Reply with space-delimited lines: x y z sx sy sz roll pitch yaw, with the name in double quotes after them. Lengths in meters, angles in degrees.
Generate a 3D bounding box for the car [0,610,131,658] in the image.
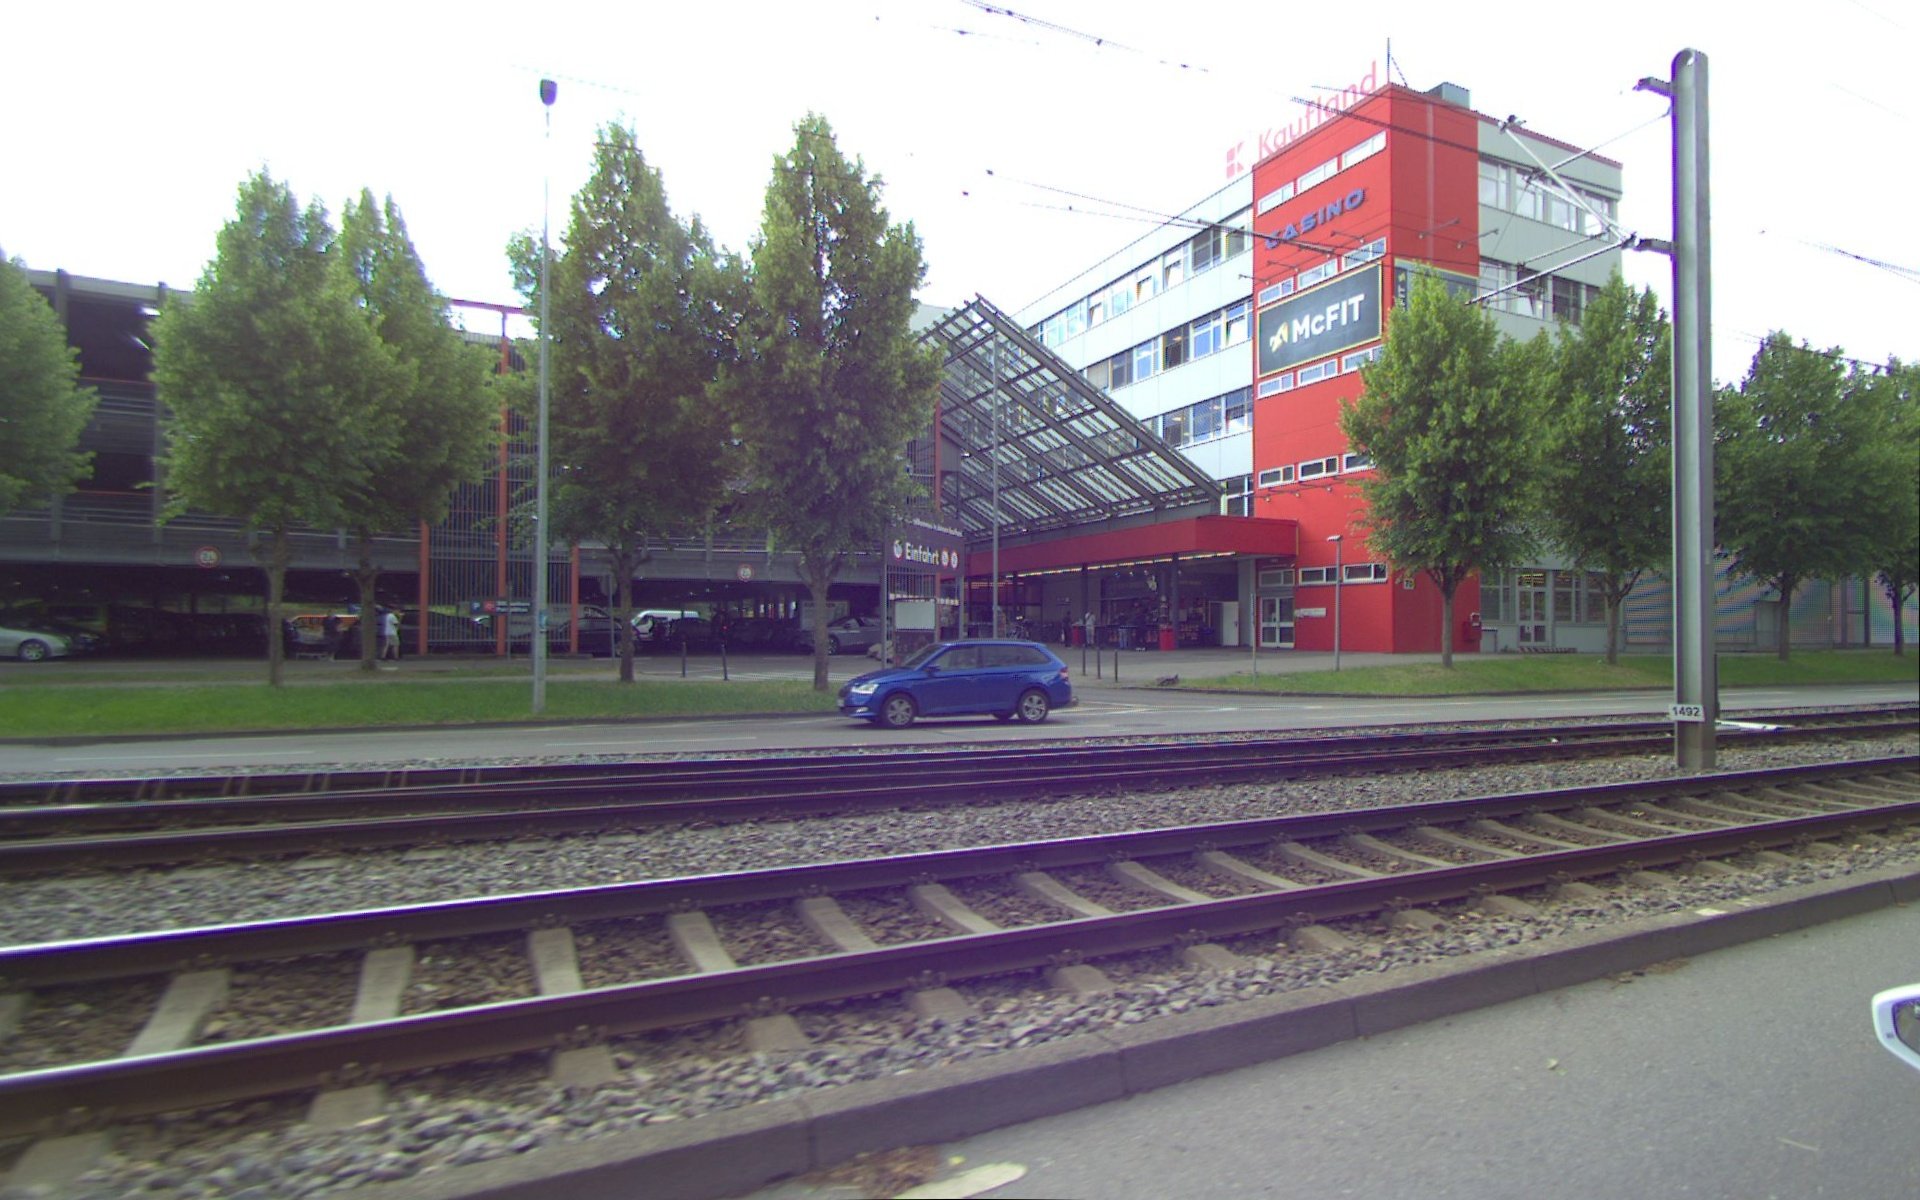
-28.964 1.099 31.649 4.001 1.451 1.835 2 -4 -27 "car"

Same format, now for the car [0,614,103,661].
-27.792 1.080 29.236 4.020 1.322 1.630 1 -2 -28 "car"

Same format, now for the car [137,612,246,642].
-37.838 1.335 49.571 3.947 1.461 1.808 1 -1 -26 "car"

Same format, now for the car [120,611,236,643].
-36.573 1.280 47.076 3.947 1.461 1.808 1 -1 -26 "car"

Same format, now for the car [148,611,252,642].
-38.989 1.380 51.654 3.948 1.460 1.809 2 -4 -26 "car"

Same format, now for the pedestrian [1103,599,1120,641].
7.593 1.003 50.357 0.546 2.040 0.599 1 -3 -25 "pedestrian"

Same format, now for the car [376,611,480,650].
-21.475 1.251 40.726 3.627 1.495 1.668 1 -2 -27 "car"

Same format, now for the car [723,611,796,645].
-10.851 1.521 54.313 3.578 1.736 1.656 1 -1 -27 "car"

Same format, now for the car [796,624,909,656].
-4.381 1.636 41.129 4.392 1.242 1.449 2 -2 -27 "car"

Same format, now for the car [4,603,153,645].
-33.141 0.926 37.910 3.840 1.536 1.834 1 -1 -27 "car"

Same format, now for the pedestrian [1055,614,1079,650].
5.143 1.550 48.311 0.855 1.717 0.735 1 -3 -27 "pedestrian"

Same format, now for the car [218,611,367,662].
-20.643 1.137 31.236 3.627 1.495 1.668 1 -2 -27 "car"

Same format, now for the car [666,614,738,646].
-14.348 1.683 55.867 3.578 1.677 1.642 2 -4 -27 "car"

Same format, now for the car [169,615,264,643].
-41.405 1.651 56.061 3.948 1.460 1.809 2 -4 -26 "car"

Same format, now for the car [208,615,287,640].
-43.024 1.641 60.730 3.627 1.457 1.668 1 -2 -27 "car"

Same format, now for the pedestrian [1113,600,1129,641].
8.129 1.031 50.606 0.546 2.040 0.599 1 -3 -25 "pedestrian"

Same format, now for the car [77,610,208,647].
-34.572 1.223 42.615 3.948 1.460 1.809 2 -4 -26 "car"

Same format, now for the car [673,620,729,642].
-18.478 2.221 71.657 3.627 1.495 1.668 1 -2 -27 "car"

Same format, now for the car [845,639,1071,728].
-0.042 1.429 17.792 3.664 1.411 1.657 1 -1 -22 "car"

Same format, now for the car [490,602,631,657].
-15.169 1.145 38.203 4.805 1.913 1.668 2 -2 -27 "car"

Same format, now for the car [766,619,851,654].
-7.172 1.773 47.587 3.596 1.572 1.761 2 -4 -29 "car"

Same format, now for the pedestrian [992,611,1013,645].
2.248 1.472 52.805 0.855 1.717 0.735 1 -3 -27 "pedestrian"

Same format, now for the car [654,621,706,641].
-21.472 2.373 77.118 3.627 1.495 1.668 1 -1 -27 "car"

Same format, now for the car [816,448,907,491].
-4.059 -5.342 41.342 3.461 1.242 1.449 2 -2 -27 "car"

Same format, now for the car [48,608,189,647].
-33.683 1.145 40.329 3.948 1.460 1.809 2 -4 -26 "car"

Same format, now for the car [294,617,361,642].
-48.076 2.267 76.455 3.944 1.750 1.989 1 -4 -24 "car"

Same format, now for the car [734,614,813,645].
-9.583 1.530 51.663 3.630 1.572 1.666 1 -1 -29 "car"

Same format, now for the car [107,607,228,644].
-35.545 1.171 45.173 3.947 1.596 1.808 1 -1 -26 "car"

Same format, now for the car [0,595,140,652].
-30.412 0.796 33.781 4.001 1.838 1.834 1 -1 -27 "car"

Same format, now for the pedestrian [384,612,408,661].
-17.753 1.156 31.616 0.606 1.526 0.420 1 -1 -26 "pedestrian"

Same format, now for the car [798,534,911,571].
-4.309 -1.921 41.186 4.392 1.242 1.431 2 -2 -27 "car"

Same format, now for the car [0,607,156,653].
-31.503 1.076 35.882 4.001 1.536 1.834 1 -1 -27 "car"
